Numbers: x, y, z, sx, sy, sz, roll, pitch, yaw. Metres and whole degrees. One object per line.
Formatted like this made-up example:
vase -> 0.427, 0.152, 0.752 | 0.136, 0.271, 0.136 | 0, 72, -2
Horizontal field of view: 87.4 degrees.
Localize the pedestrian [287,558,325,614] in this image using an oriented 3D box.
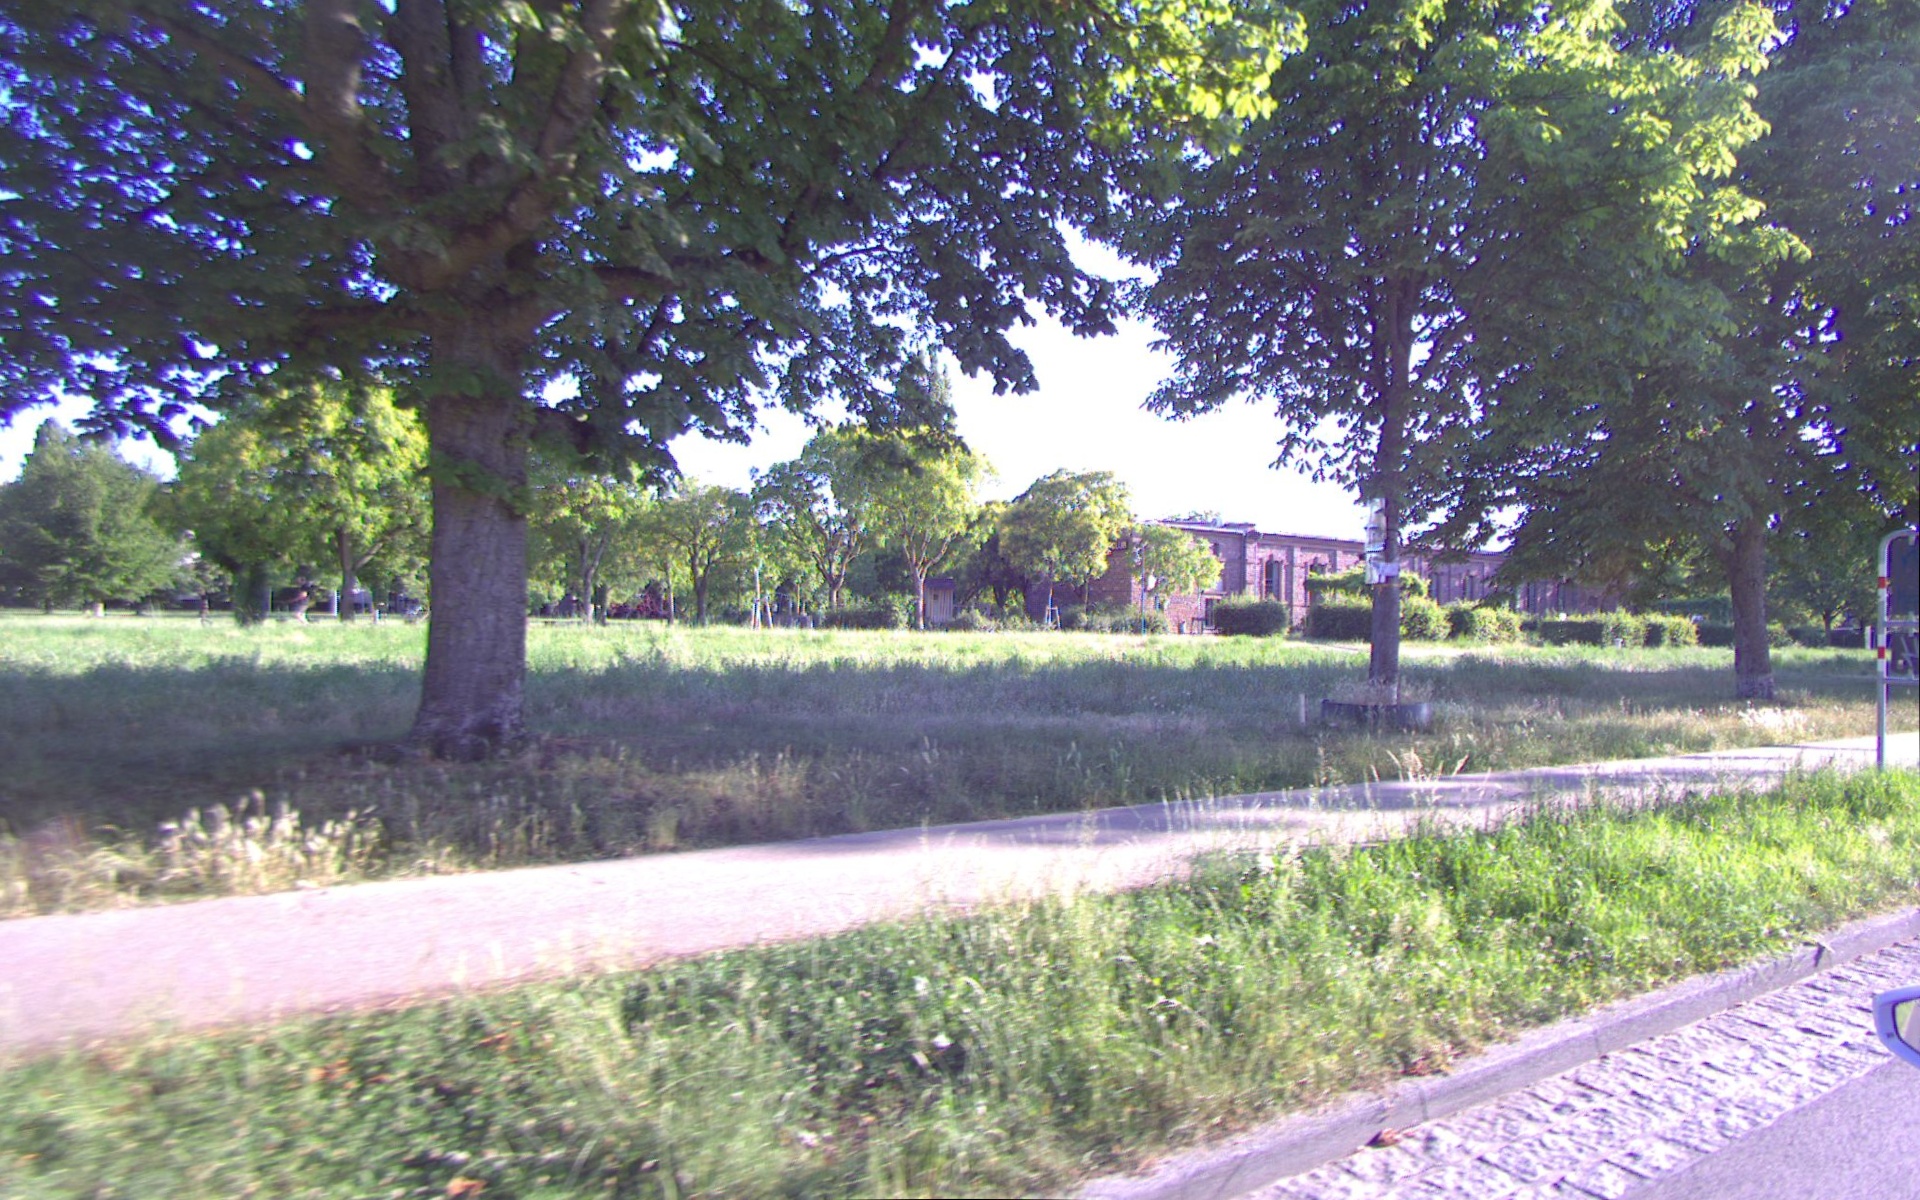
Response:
pedestrian -> -20.910, -0.451, 32.107 | 0.764, 1.747, 0.714 | 2, 0, 32
